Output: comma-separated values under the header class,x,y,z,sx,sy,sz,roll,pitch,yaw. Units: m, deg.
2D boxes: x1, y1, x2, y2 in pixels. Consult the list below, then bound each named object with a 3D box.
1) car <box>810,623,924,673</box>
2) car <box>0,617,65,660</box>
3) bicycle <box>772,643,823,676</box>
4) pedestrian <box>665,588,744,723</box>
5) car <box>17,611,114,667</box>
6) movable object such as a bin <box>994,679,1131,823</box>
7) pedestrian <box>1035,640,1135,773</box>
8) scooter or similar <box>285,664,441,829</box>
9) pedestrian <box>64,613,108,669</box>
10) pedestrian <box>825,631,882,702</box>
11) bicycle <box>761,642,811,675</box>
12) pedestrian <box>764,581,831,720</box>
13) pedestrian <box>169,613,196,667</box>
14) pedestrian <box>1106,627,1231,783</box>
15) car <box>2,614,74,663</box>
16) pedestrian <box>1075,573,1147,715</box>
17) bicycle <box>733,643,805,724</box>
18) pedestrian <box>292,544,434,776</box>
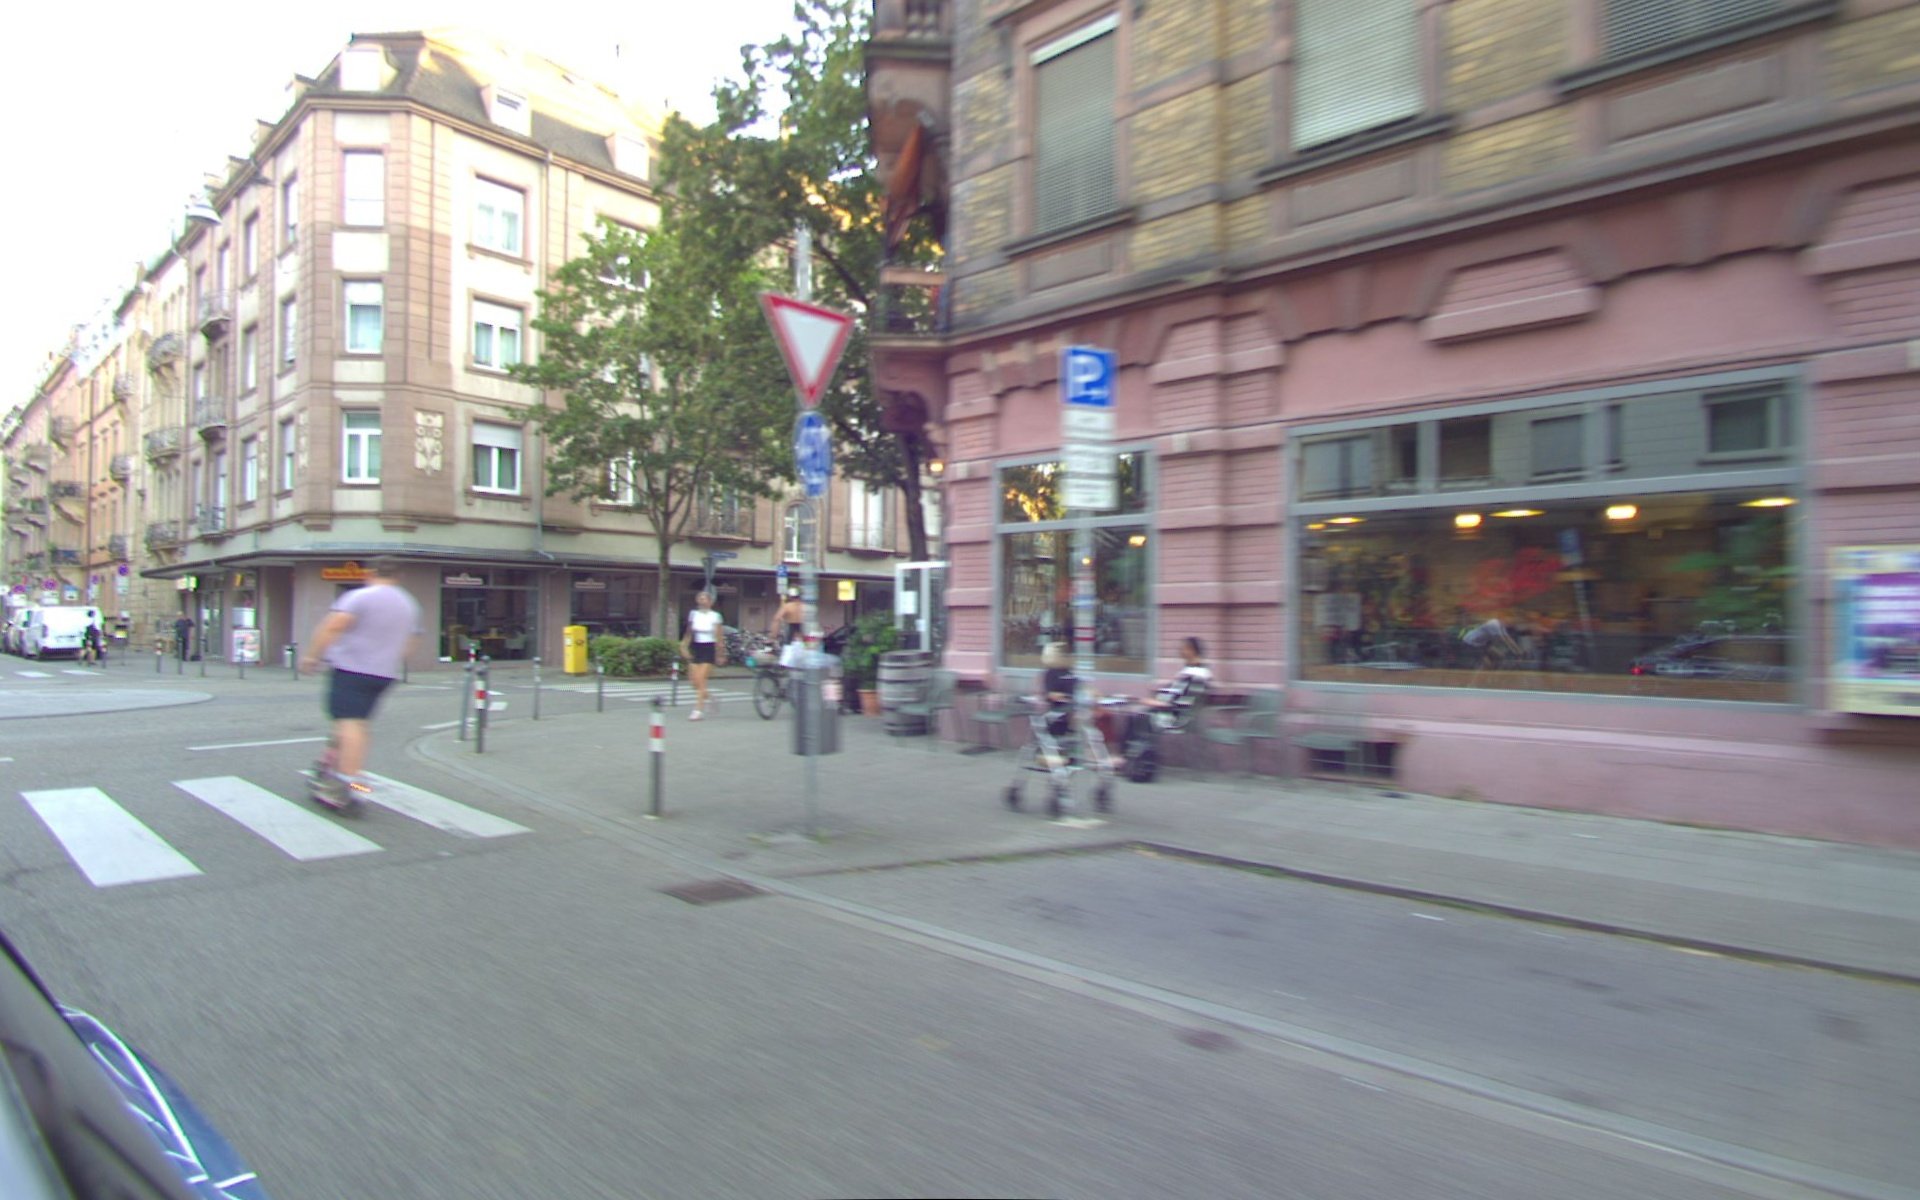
class,x,y,z,sx,sy,sz,roll,pitch,yaw
car,-3.125,1.562,33.710,3.686,1.488,1.698,0,-2,42
car,-42.603,1.727,46.247,4.540,1.835,2.112,-1,-1,43
bicycle,-4.777,1.750,29.761,1.467,0.902,0.477,1,0,-44
pedestrian,-3.619,0.782,14.392,0.746,1.825,1.047,-2,-3,5
car,-33.854,1.418,38.251,4.766,1.973,2.114,-1,-1,41
movable object such as a bin,0.766,1.086,7.538,0.729,0.922,0.754,0,0,38
pedestrian,1.171,0.974,9.524,0.791,1.152,0.498,0,0,43
scooter or similar,-4.612,1.070,7.797,0.797,1.112,1.173,2,-3,-42
pedestrian,-28.061,1.300,32.508,0.736,1.757,1.217,0,-1,-22
pedestrian,-2.025,1.258,19.245,0.734,1.315,0.782,-4,-5,37
bicycle,-5.195,1.740,30.253,1.467,0.902,0.477,1,0,-44
pedestrian,-2.282,0.704,14.324,0.715,1.869,1.021,-2,-2,2
pedestrian,-26.524,1.355,34.548,0.644,1.792,0.694,0,-2,-30
pedestrian,1.841,0.892,8.911,0.904,1.264,0.644,-2,1,27
car,-38.464,1.562,42.199,4.326,1.918,1.854,-1,-1,43
pedestrian,1.901,0.546,12.798,0.647,1.709,0.666,-4,-1,-5
bicycle,-2.655,1.138,14.243,0.604,1.033,1.774,-2,-2,2
pedestrian,-4.616,0.447,7.830,0.797,1.673,0.673,2,-3,-42
